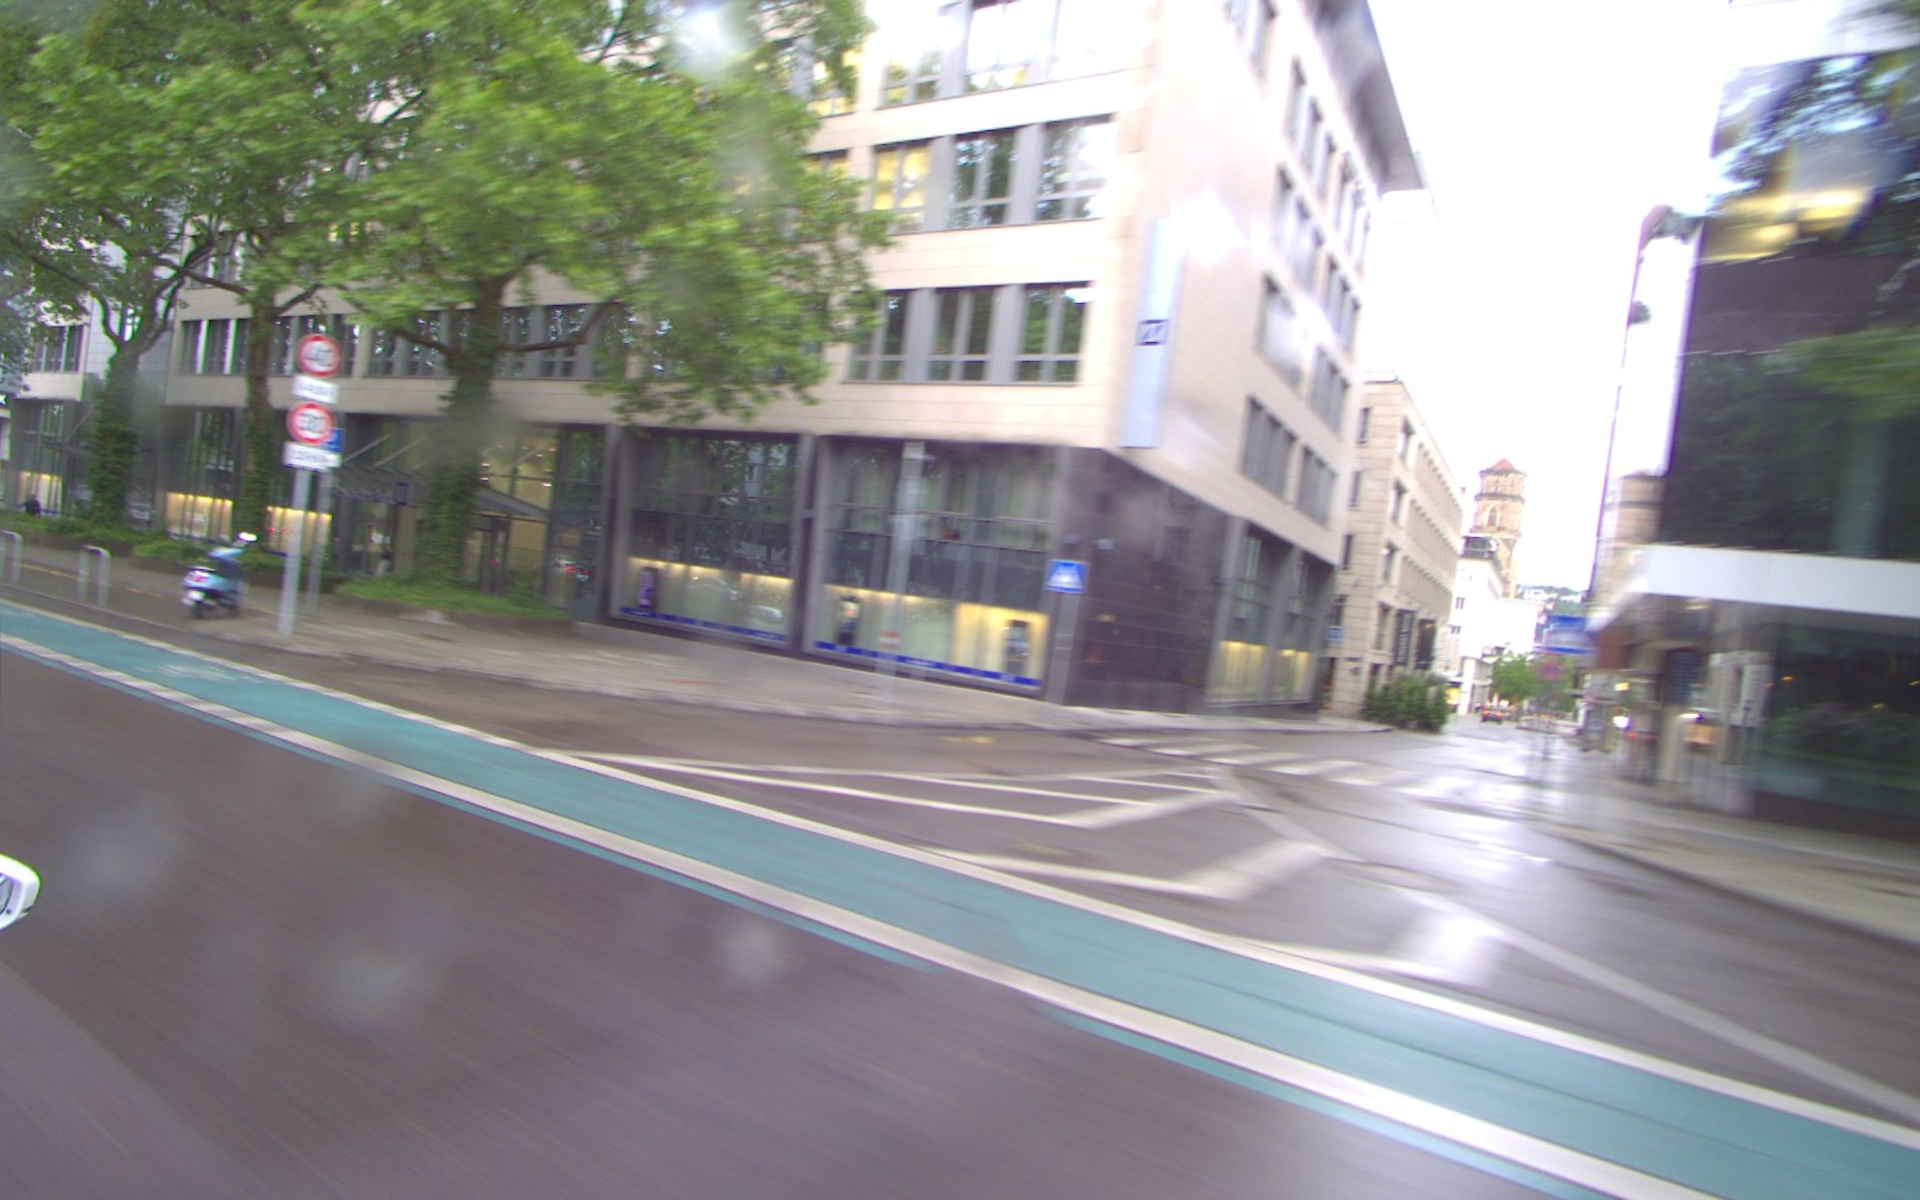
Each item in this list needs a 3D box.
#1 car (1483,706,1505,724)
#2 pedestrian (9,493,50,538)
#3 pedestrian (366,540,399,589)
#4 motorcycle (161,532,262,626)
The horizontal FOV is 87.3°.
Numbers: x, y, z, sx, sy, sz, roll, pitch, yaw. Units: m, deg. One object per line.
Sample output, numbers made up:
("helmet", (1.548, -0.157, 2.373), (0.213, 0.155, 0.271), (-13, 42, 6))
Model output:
("car", (54.016, 11.602, 101.733), (1.732, 1.547, 3.849), (7, -2, 28))
("pedestrian", (-43.357, -3.931, 46.869), (1.256, 1.871, 0.919), (6, -1, 32))
("pedestrian", (-21.126, -1.300, 36.798), (0.718, 1.714, 0.825), (7, 1, -16))
("motorcycle", (-12.094, -0.358, 16.325), (0.674, 1.385, 1.937), (4, 2, -18))
